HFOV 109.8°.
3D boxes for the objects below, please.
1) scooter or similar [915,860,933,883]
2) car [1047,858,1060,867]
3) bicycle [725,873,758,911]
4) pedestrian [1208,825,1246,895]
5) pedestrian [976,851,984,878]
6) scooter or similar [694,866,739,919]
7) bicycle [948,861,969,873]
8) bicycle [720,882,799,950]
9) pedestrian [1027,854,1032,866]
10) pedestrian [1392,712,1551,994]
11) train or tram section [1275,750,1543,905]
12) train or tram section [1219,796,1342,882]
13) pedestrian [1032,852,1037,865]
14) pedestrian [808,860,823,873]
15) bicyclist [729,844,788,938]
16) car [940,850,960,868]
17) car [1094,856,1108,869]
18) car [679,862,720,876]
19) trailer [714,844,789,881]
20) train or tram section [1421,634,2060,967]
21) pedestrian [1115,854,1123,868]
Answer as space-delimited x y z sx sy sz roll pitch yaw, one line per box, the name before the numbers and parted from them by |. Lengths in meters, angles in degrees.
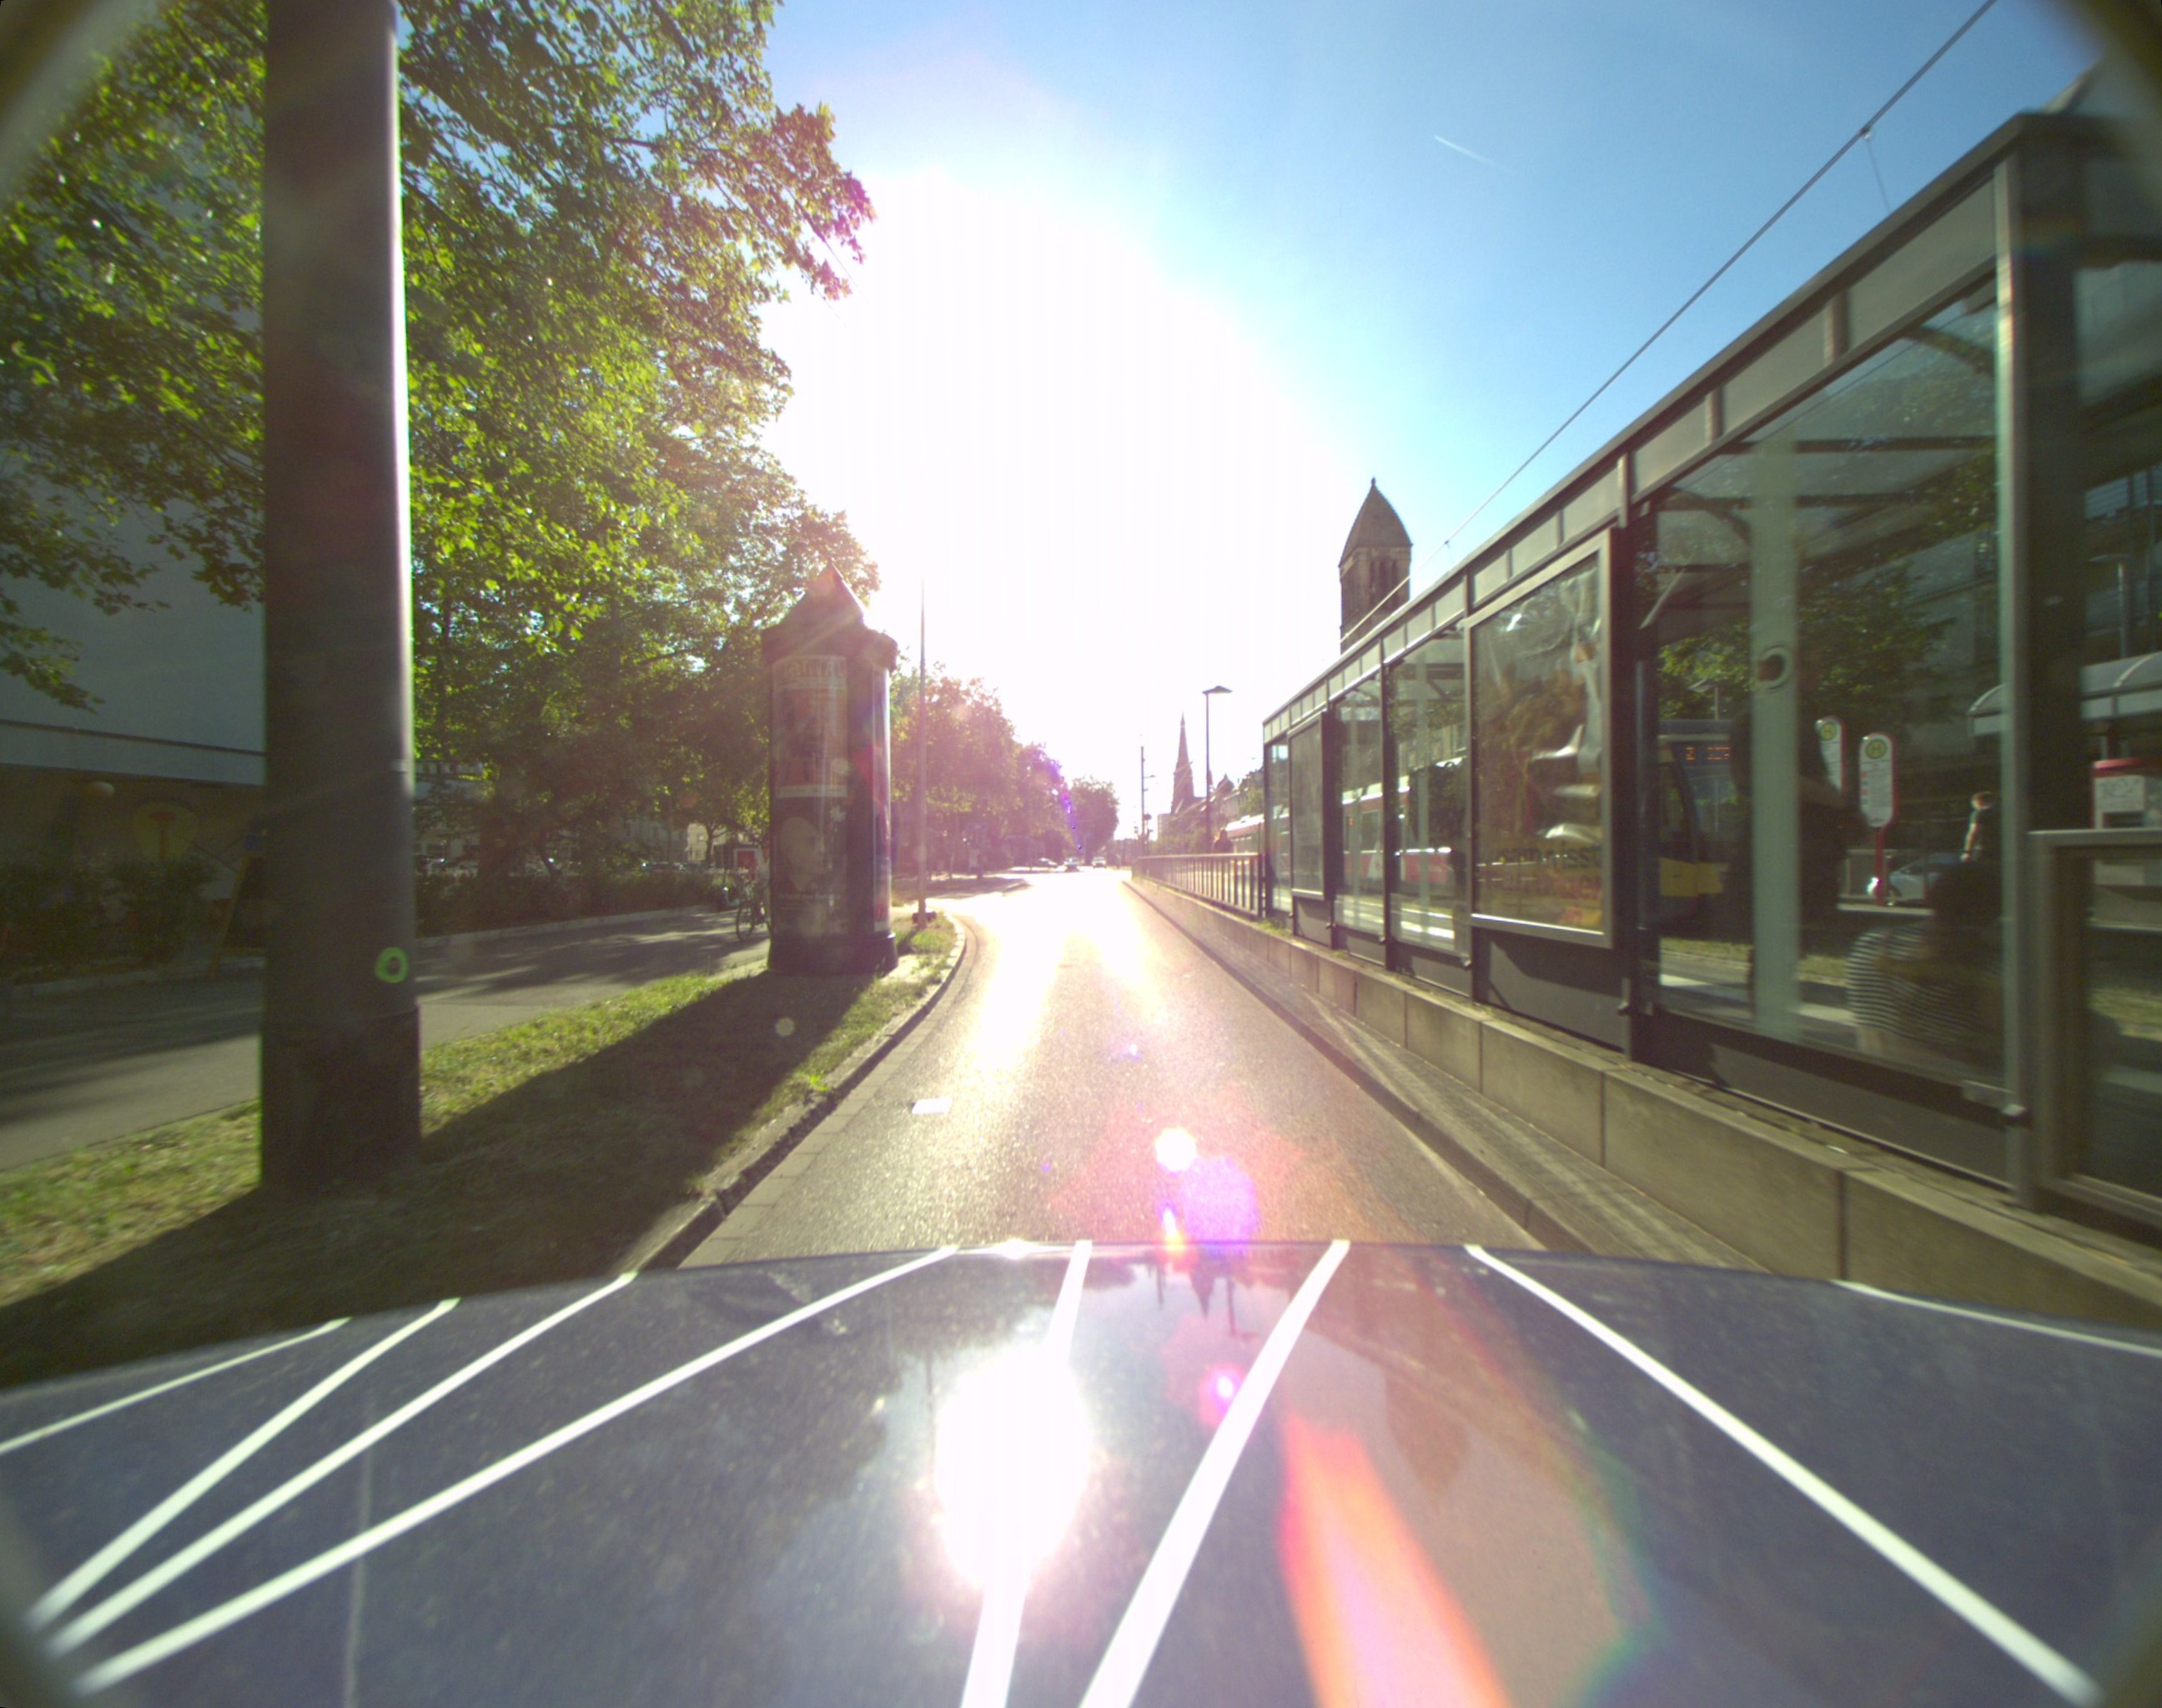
scooter or similar | -8.579 0.936 41.489 0.561 1.250 1.291 0 1 9
car | -4.387 1.336 122.476 1.720 1.319 3.754 -3 0 1
bicycle | -9.793 1.073 21.877 0.606 1.020 1.949 0 -1 -31
pedestrian | 3.478 0.146 18.157 0.631 1.600 0.982 -3 0 -1
pedestrian | -6.188 0.625 46.709 0.429 1.629 0.613 -2 0 -7
scooter or similar | -9.185 0.948 19.202 0.562 1.250 1.289 0 1 -3
bicycle | -11.567 1.197 71.884 1.827 1.047 0.534 -2 0 -26
bicycle | -5.493 1.034 13.091 0.604 1.020 1.766 -1 0 0
pedestrian | -7.619 0.872 112.786 0.631 1.833 0.540 -3 1 -1
pedestrian | 2.830 -0.003 5.586 0.671 1.891 0.824 -3 1 0
train or tram section | 9.691 -0.638 25.425 2.877 3.664 14.560 -1 0 1
train or tram section | 9.916 -0.641 39.994 2.877 3.654 14.560 -1 0 1
pedestrian | -6.850 0.694 112.824 0.631 1.833 0.540 -3 1 -1
pedestrian | -26.669 1.253 76.376 1.141 1.233 0.790 -3 0 0
bicyclist | -5.498 0.614 12.990 0.604 1.542 0.860 -1 0 0
car | -20.299 0.724 118.046 1.998 2.726 4.715 -3 0 2
car | 2.543 1.054 95.246 1.636 1.491 4.000 -3 0 1
car | -46.782 1.789 93.234 3.996 1.513 1.922 -3 0 1
trailer | -21.968 0.576 50.865 4.520 2.359 1.911 -1 0 -21
train or tram section | 9.497 -0.593 13.288 2.877 3.664 9.684 -1 0 1
pedestrian | 4.258 0.791 85.465 0.679 1.611 0.925 -3 0 -1
